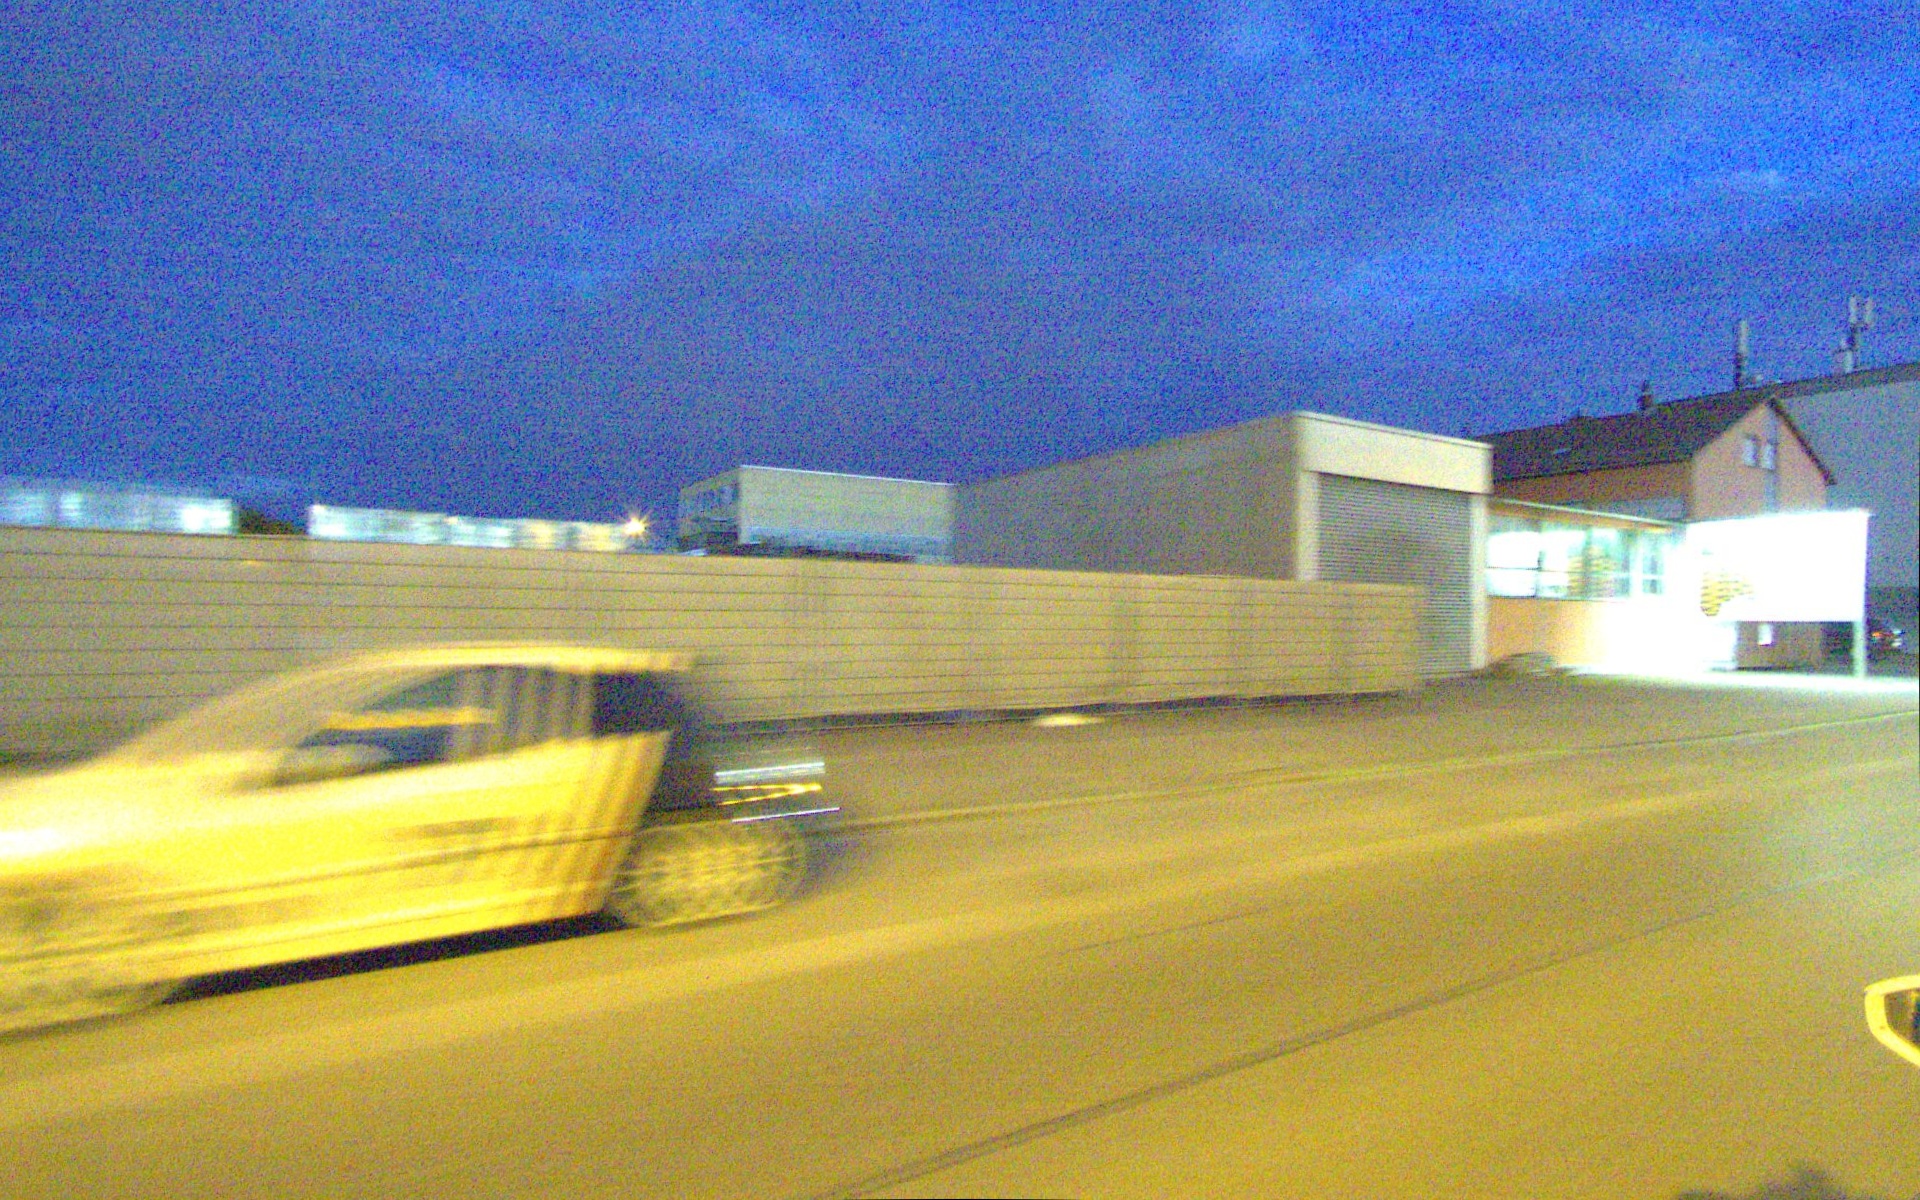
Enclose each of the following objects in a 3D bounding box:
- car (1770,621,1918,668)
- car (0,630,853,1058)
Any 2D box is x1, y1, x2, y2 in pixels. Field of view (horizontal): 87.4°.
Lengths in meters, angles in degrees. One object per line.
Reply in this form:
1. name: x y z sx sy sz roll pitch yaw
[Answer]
1. car: 34.231 1.695 39.003 1.979 1.673 3.964 2 -1 -33
2. car: -2.707 0.894 4.881 3.954 1.439 1.832 2 -1 -31
